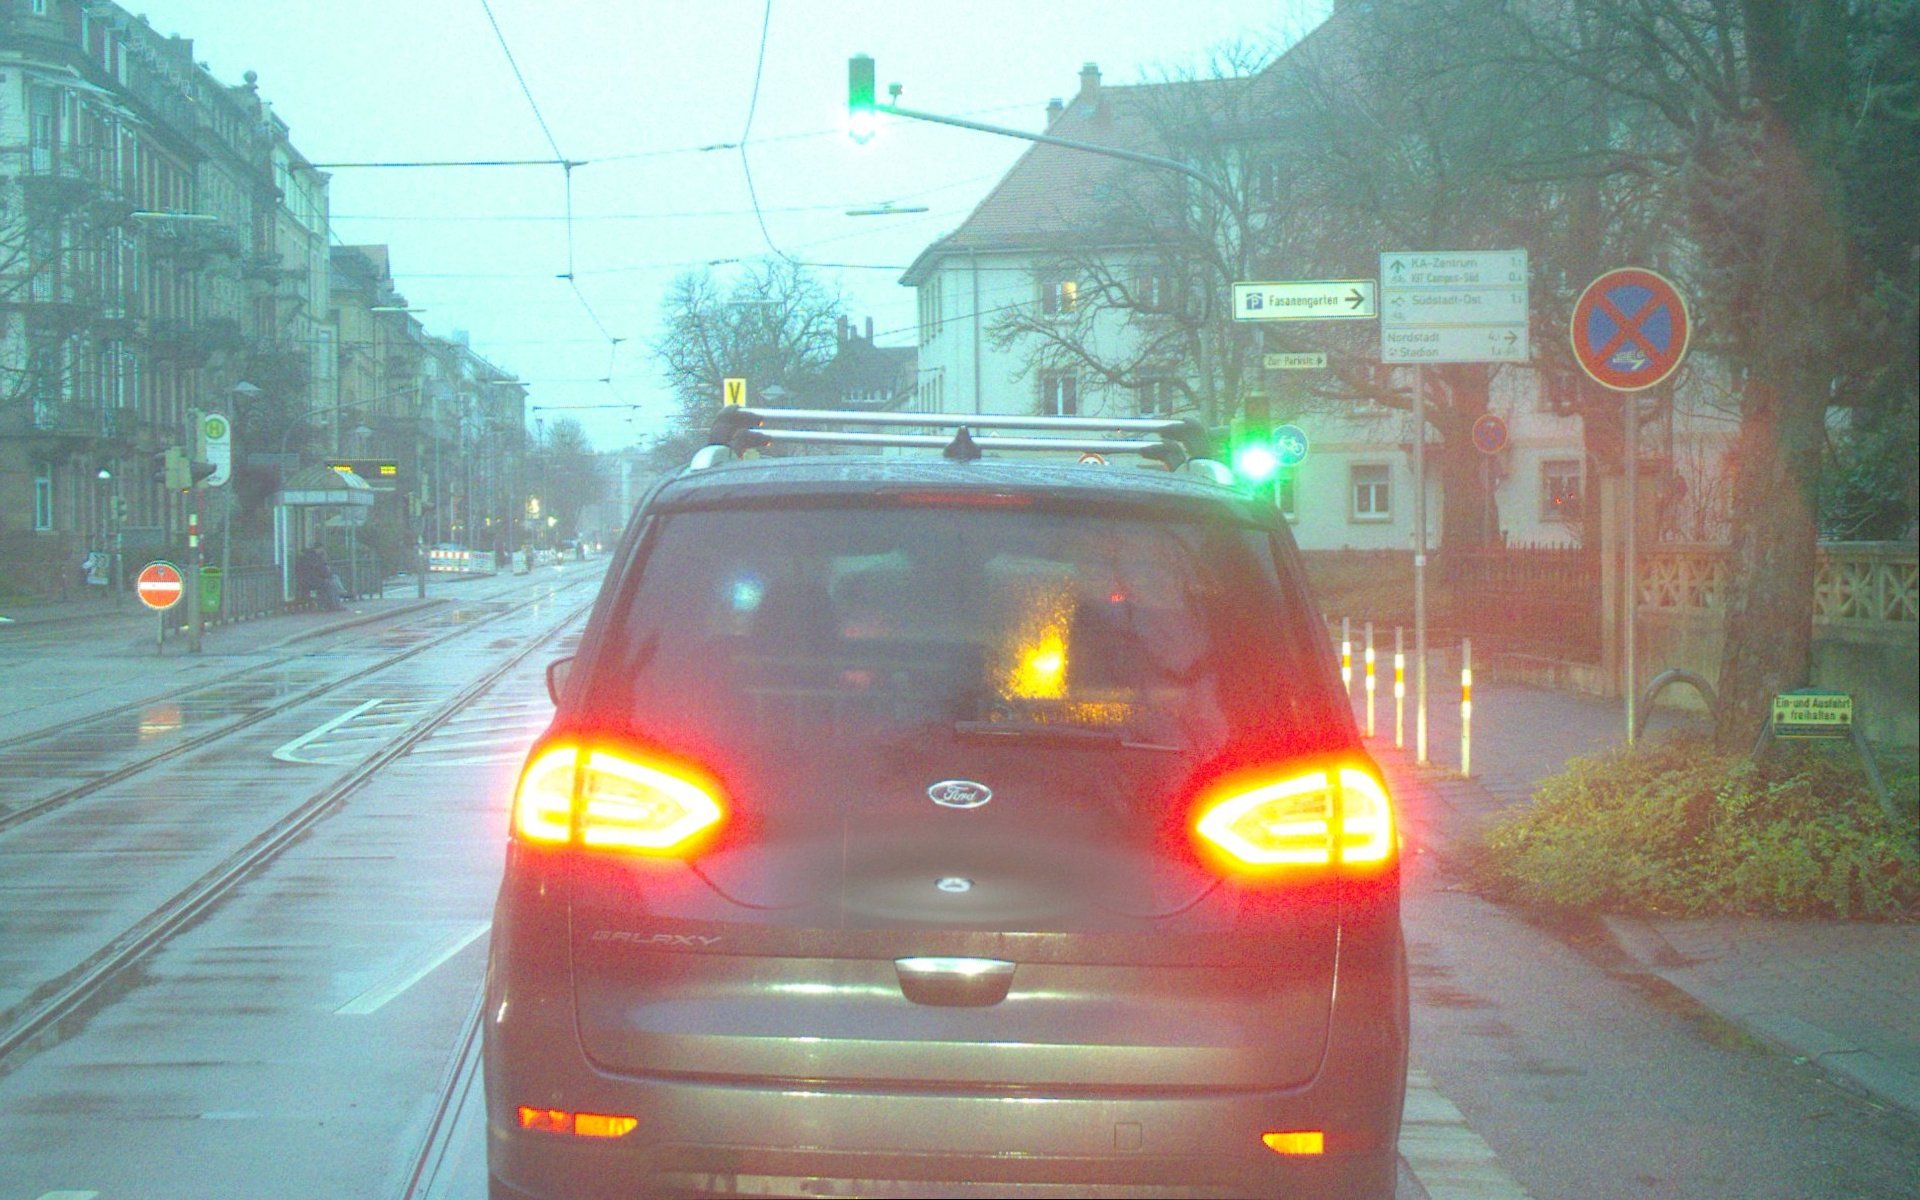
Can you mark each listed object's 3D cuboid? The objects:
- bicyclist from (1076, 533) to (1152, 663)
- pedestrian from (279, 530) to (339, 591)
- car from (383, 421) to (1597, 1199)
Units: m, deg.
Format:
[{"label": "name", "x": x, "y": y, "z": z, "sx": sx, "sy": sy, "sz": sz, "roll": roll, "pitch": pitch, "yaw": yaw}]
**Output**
[{"label": "bicyclist", "x": 2.038, "y": -0.036, "z": 45.546, "sx": 0.716, "sy": 1.657, "sz": 1.057, "roll": 3, "pitch": 1, "yaw": -8}, {"label": "pedestrian", "x": -12.858, "y": -0.780, "z": 67.912, "sx": 1.047, "sy": 1.196, "sz": 0.885, "roll": 0, "pitch": 0, "yaw": -3}, {"label": "car", "x": -0.038, "y": 0.572, "z": 8.378, "sx": 2.103, "sy": 1.810, "sz": 4.661, "roll": 1, "pitch": 1, "yaw": -2}]
